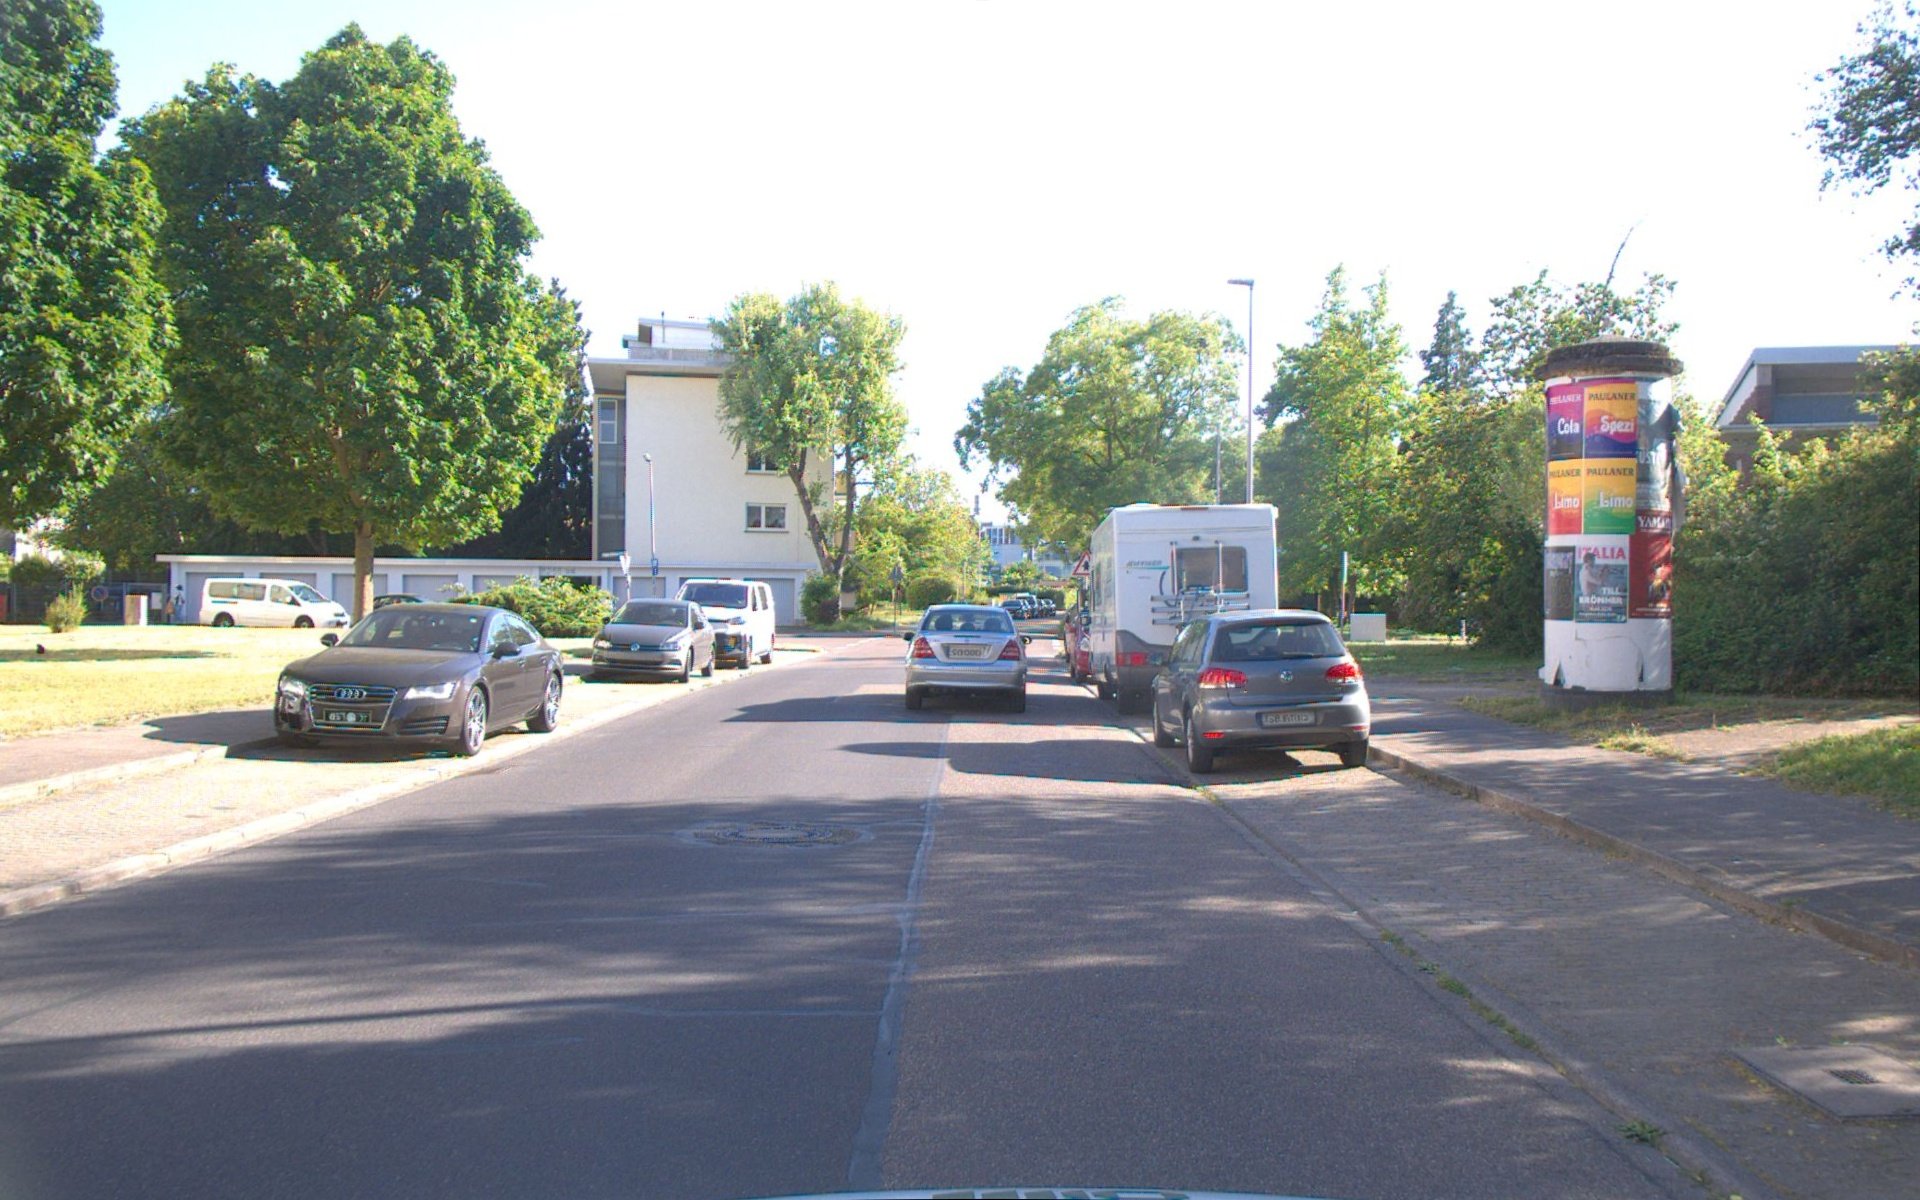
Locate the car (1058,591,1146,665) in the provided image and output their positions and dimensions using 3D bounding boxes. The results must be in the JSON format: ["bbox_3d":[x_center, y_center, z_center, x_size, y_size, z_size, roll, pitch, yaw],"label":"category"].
[{"bbox_3d":[3.575,0.674,42.420,1.739,1.709,4.644,-2,0,-1],"label":"car"}]

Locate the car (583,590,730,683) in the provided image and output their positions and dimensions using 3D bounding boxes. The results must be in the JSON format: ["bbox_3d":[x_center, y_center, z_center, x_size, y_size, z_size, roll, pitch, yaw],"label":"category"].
[{"bbox_3d":[-5.522,0.637,30.629,1.795,1.544,4.222,2,0,1],"label":"car"}]

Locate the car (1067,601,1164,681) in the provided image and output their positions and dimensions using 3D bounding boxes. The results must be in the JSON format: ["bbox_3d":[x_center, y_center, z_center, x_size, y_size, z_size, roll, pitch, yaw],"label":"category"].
[{"bbox_3d":[3.058,0.779,33.215,1.656,1.500,4.001,0,0,1],"label":"car"}]

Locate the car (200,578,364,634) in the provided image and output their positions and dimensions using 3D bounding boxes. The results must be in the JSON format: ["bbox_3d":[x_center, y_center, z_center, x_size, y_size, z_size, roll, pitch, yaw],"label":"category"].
[{"bbox_3d":[-24.391,0.218,59.584,4.996,1.985,2.239,0,0,8],"label":"car"}]

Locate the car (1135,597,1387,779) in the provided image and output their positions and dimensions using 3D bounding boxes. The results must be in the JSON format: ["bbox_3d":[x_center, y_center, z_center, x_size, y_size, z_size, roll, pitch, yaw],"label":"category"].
[{"bbox_3d":[2.972,0.796,17.249,1.685,1.551,4.428,-3,0,-1],"label":"car"}]

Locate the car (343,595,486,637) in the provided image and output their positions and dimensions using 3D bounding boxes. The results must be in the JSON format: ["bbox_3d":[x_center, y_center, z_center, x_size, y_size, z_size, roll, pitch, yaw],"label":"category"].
[{"bbox_3d":[-19.393,0.556,58.886,4.347,1.486,2.045,0,0,7],"label":"car"}]

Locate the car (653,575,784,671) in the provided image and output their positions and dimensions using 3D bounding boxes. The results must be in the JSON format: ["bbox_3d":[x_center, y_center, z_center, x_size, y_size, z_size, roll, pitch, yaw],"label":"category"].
[{"bbox_3d":[-5.323,0.488,37.124,1.972,1.918,5.191,2,0,2],"label":"car"}]

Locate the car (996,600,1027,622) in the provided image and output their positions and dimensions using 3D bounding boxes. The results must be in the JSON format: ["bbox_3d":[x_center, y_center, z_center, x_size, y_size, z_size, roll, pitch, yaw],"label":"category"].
[{"bbox_3d":[3.827,0.798,122.305,1.872,1.516,3.840,-2,0,8],"label":"car"}]

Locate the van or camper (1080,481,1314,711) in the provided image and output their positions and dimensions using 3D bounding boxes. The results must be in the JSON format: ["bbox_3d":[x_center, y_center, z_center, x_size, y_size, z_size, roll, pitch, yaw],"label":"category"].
[{"bbox_3d":[3.247,-0.067,24.363,2.445,2.895,6.851,0,0,0],"label":"van or camper"}]

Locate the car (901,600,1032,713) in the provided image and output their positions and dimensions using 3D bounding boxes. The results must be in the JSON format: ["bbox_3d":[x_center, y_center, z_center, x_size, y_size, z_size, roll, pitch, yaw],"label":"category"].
[{"bbox_3d":[0.131,0.761,23.411,1.697,1.459,3.438,1,-1,1],"label":"car"}]

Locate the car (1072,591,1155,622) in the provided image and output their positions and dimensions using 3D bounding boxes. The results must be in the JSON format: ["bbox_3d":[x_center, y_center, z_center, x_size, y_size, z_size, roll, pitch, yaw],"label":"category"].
[{"bbox_3d":[9.013,0.387,96.768,4.780,1.754,2.001,-1,0,6],"label":"car"}]

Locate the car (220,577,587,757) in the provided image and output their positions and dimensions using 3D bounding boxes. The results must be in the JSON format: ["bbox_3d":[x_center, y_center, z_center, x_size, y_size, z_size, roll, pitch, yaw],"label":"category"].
[{"bbox_3d":[-5.581,0.591,17.466,1.993,1.519,5.256,3,0,0],"label":"car"}]
